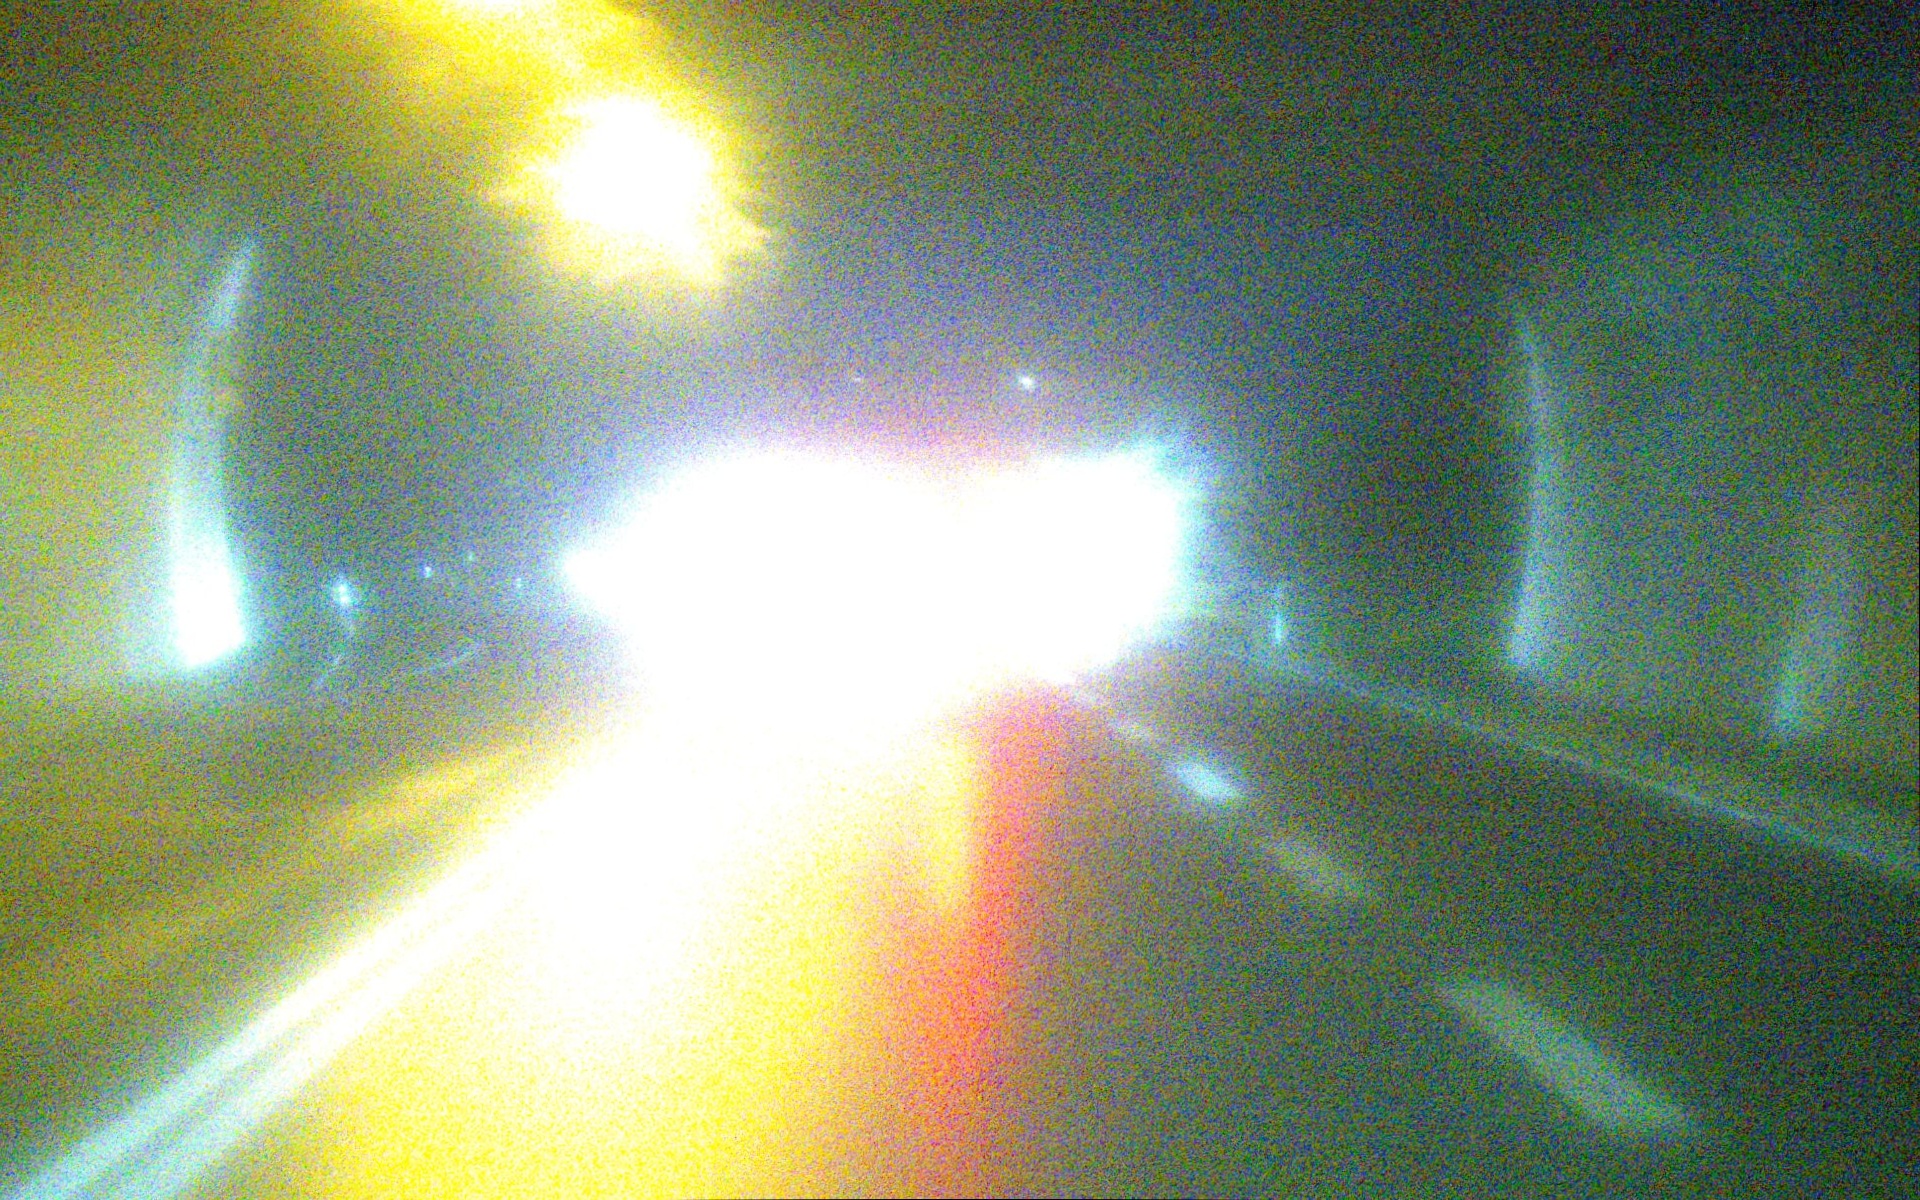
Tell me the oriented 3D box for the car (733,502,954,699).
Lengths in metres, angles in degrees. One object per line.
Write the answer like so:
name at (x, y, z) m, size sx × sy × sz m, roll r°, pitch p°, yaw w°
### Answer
car at (-1.047, -0.018, 30.348) m, size 1.808 × 1.616 × 4.000 m, roll 0°, pitch 1°, yaw -2°
